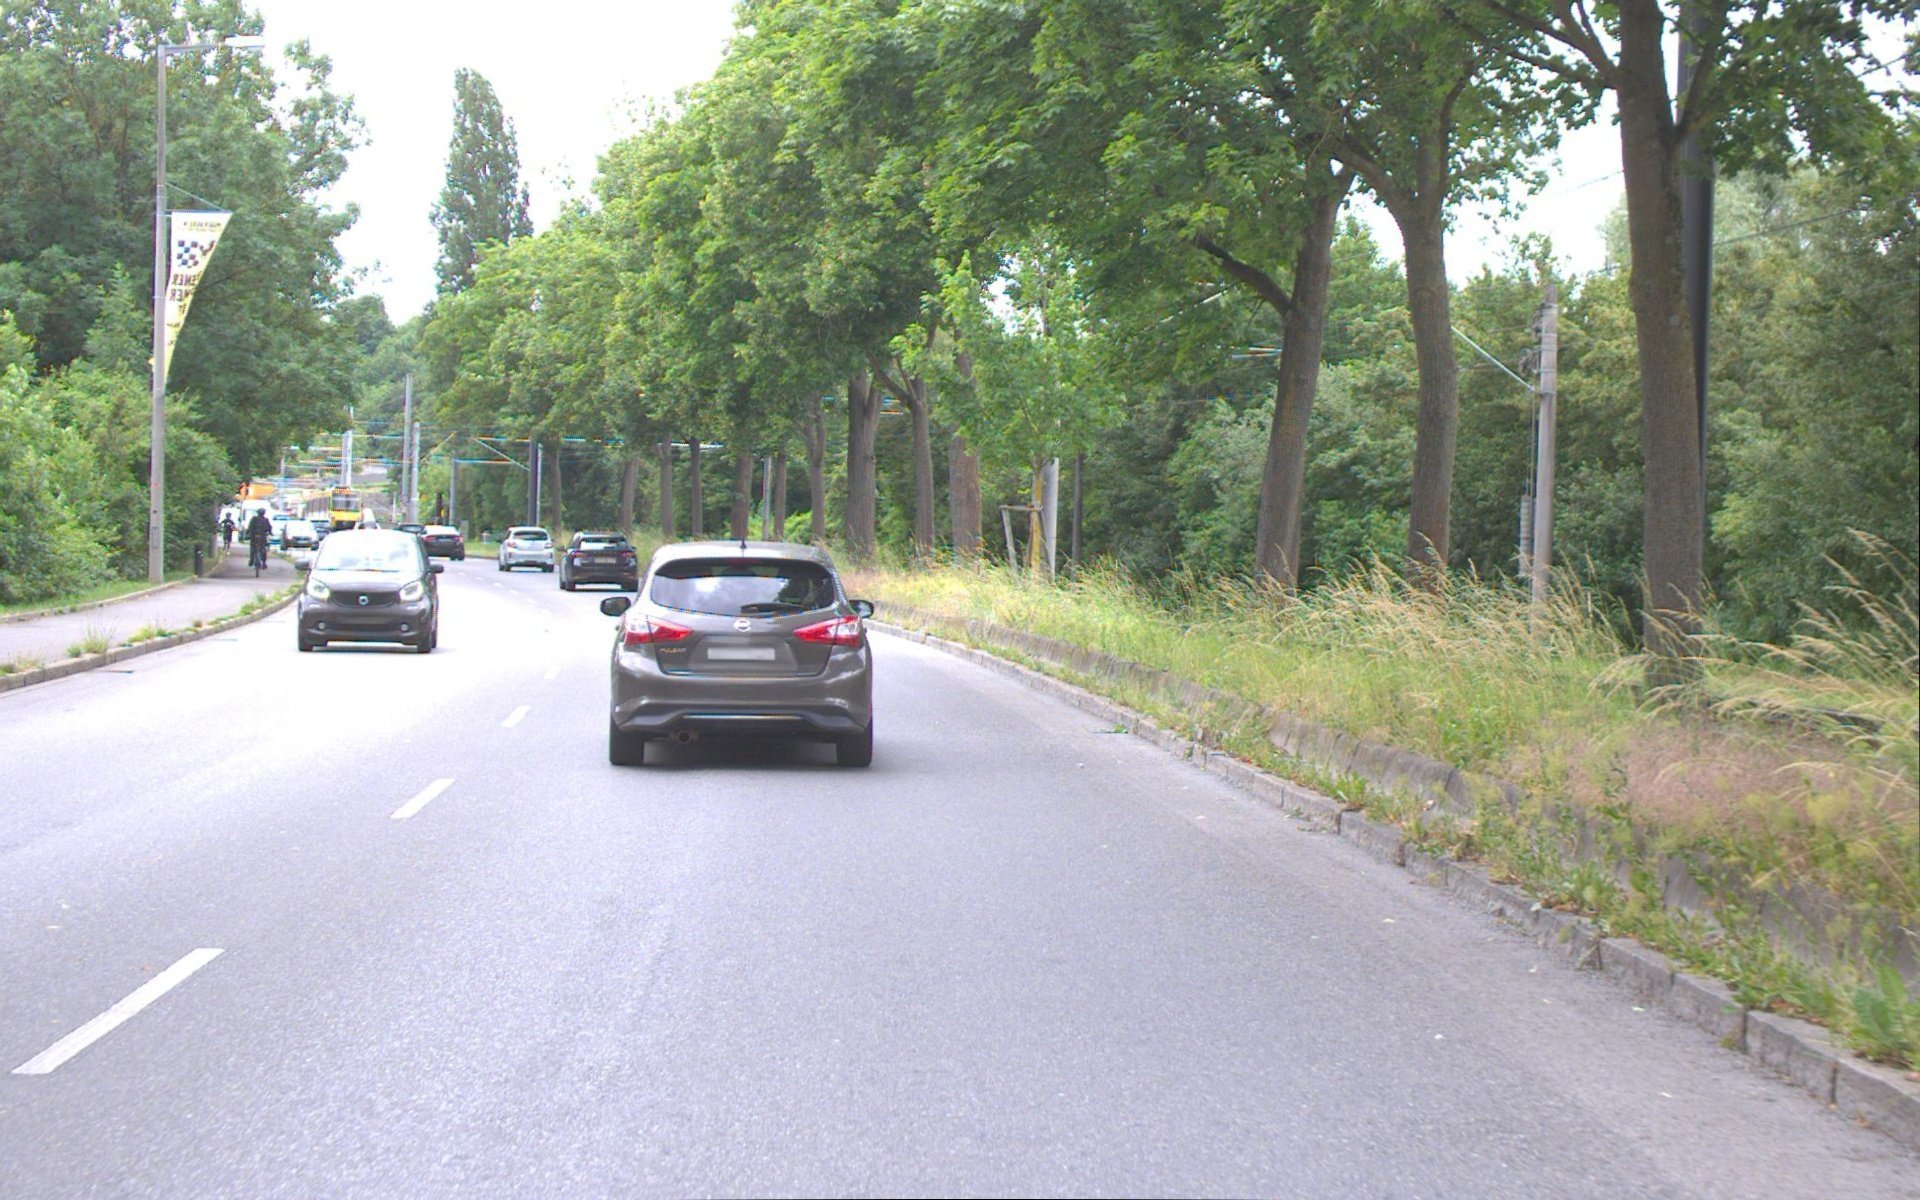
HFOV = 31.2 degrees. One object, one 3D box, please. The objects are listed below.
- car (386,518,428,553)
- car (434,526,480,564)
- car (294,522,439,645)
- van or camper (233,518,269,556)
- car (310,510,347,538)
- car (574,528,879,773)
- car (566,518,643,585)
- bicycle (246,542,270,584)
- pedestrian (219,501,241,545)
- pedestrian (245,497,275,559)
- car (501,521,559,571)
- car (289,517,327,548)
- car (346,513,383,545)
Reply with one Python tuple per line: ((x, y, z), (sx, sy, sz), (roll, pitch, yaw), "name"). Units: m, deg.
((-25.434, -2.976, 158.157), (1.775, 1.467, 4.001), (2, 2, -9), "car")
((-21.143, -2.310, 144.565), (1.775, 1.467, 4.002), (1, 2, -10), "car")
((-7.576, -0.227, 44.058), (1.595, 1.500, 3.029), (1, 1, -6), "car")
((-43.673, -3.899, 211.675), (1.925, 2.143, 3.933), (3, 2, -13), "van or camper")
((-37.943, -4.567, 206.539), (1.775, 1.467, 4.002), (3, 2, -16), "car")
((-1.729, 0.290, 24.243), (1.815, 1.503, 4.001), (1, 2, -8), "car")
((-8.754, -1.227, 84.891), (1.775, 1.467, 4.001), (4, 2, -5), "car")
((-18.193, -0.952, 89.091), (0.488, 1.027, 1.124), (4, 2, -8), "bicycle")
((-28.034, -2.949, 131.968), (0.695, 1.616, 0.684), (3, 1, -9), "pedestrian")
((-18.143, -1.862, 89.055), (0.617, 1.566, 0.849), (4, 1, -8), "pedestrian")
((-14.335, -1.808, 114.837), (1.775, 1.467, 4.001), (4, 2, -6), "car")
((-32.895, -3.410, 173.476), (1.748, 1.459, 3.921), (3, 1, -10), "car")
((-31.043, -3.725, 179.219), (1.775, 1.467, 4.002), (3, 2, -10), "car")
